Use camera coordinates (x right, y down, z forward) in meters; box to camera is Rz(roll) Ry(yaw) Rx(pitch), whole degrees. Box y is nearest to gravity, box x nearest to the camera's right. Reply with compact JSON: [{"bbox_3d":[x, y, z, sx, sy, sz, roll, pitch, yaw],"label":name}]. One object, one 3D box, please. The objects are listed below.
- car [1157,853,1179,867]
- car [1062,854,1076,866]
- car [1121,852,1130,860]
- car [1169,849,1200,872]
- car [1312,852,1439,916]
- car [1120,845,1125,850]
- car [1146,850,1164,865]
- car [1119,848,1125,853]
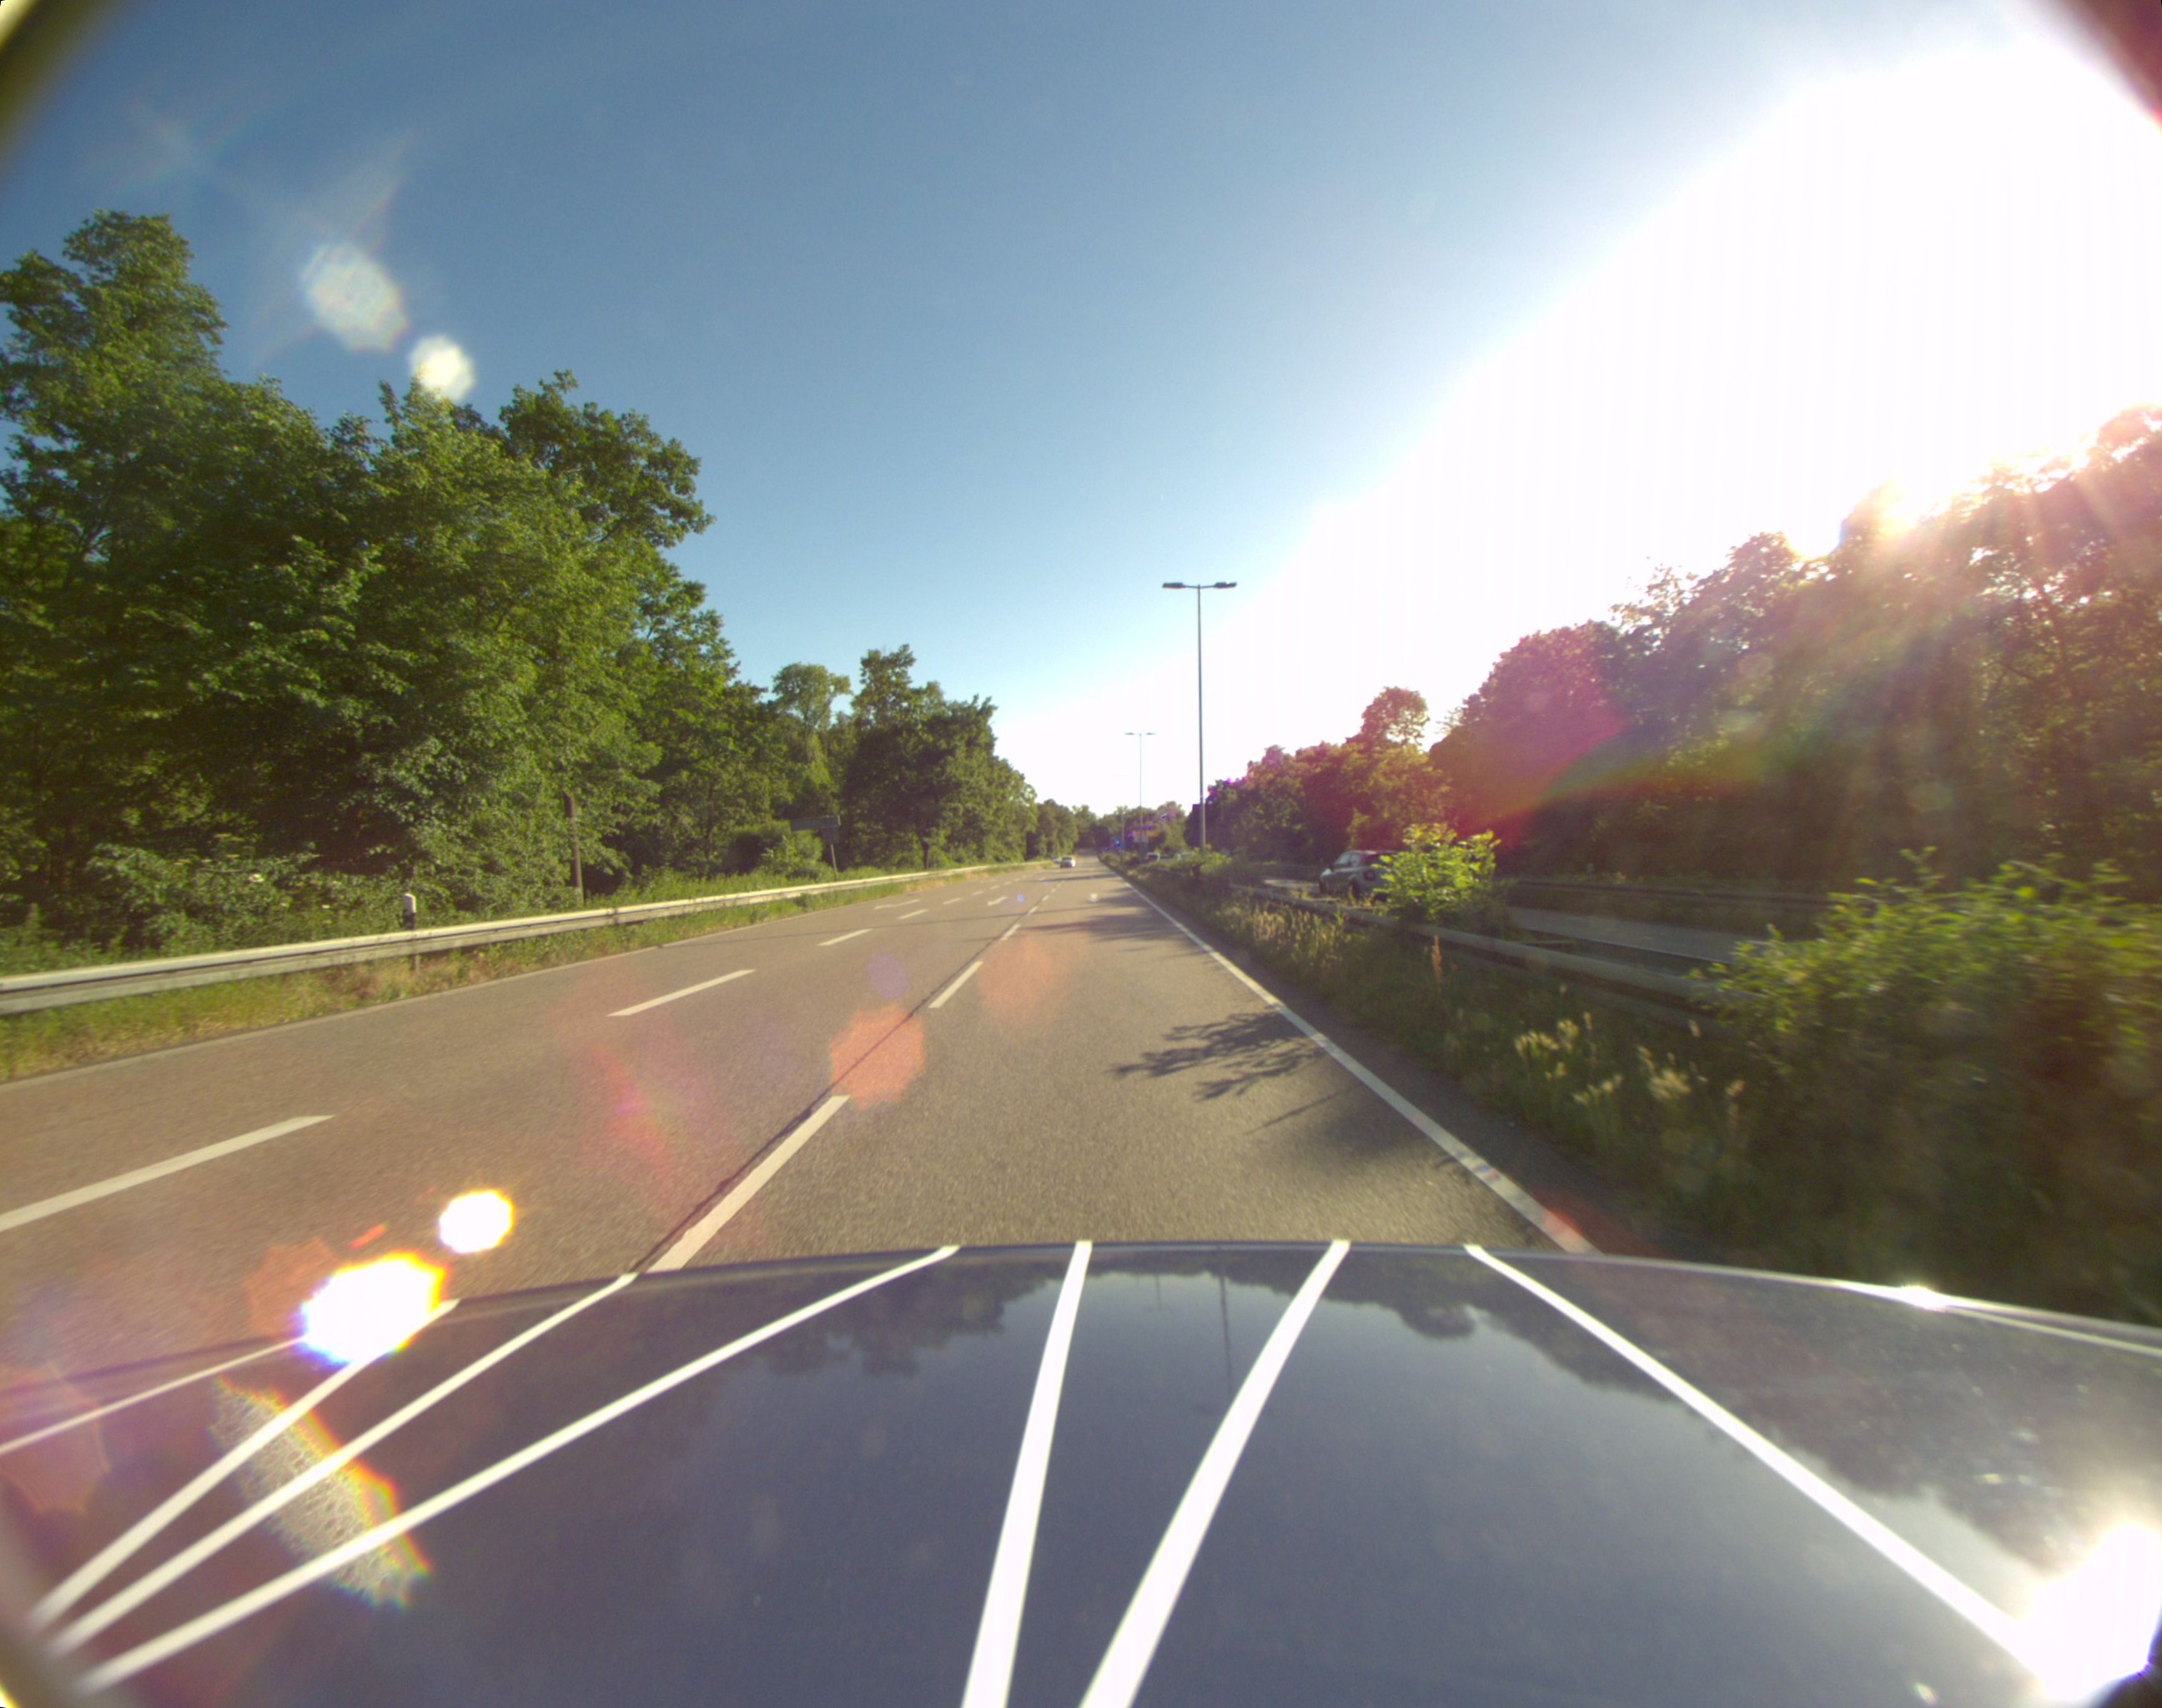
[{"bbox_3d":[8.677,0.609,76.086,1.777,1.349,4.462,-1,0,1],"label":"car"},{"bbox_3d":[-1.439,0.785,93.955,1.682,1.477,3.390,0,-1,0],"label":"car"},{"bbox_3d":[10.273,0.383,175.557,1.846,1.747,4.712,0,0,1],"label":"car"},{"bbox_3d":[8.061,0.482,59.422,1.838,1.761,4.338,-1,0,0],"label":"car"},{"bbox_3d":[7.801,0.719,20.587,1.774,1.560,4.218,0,0,0],"label":"car"},{"bbox_3d":[13.547,-2.118,249.068,1.785,1.395,4.553,0,0,2],"label":"car"},{"bbox_3d":[9.172,0.413,94.560,1.790,1.700,4.547,1,0,1],"label":"car"},{"bbox_3d":[11.496,-0.952,212.740,1.622,1.521,4.609,0,0,2],"label":"car"}]
